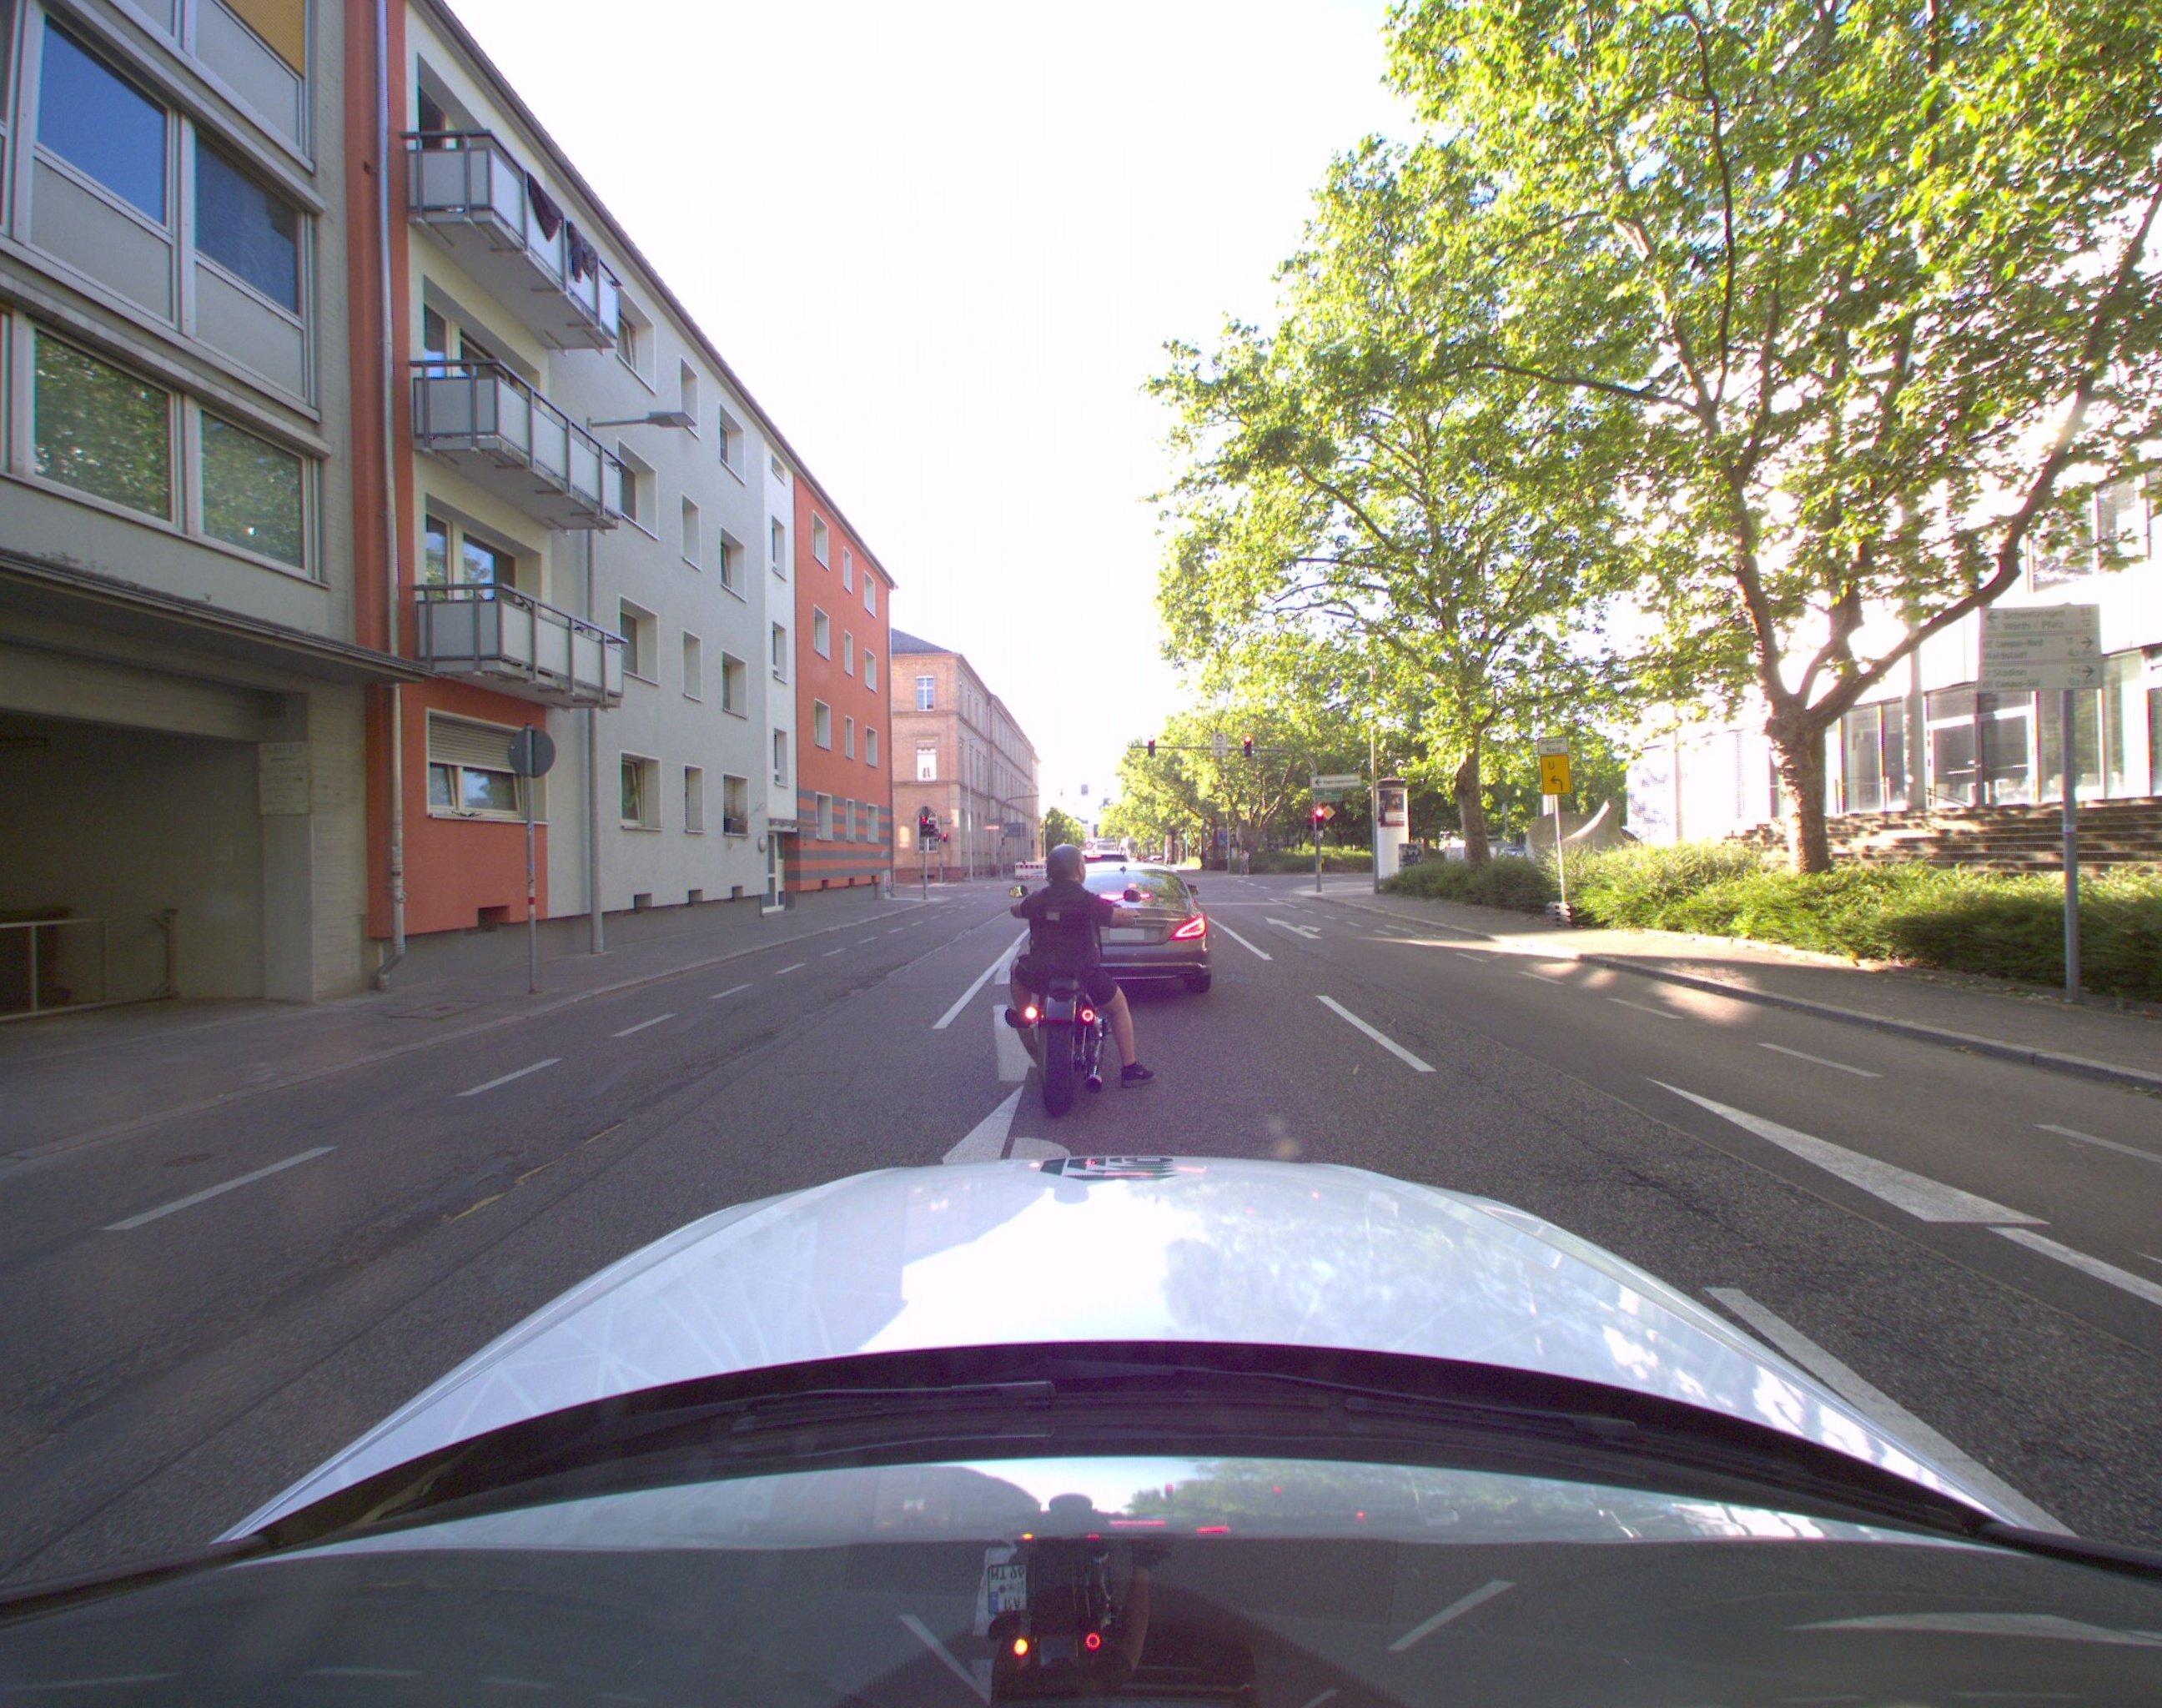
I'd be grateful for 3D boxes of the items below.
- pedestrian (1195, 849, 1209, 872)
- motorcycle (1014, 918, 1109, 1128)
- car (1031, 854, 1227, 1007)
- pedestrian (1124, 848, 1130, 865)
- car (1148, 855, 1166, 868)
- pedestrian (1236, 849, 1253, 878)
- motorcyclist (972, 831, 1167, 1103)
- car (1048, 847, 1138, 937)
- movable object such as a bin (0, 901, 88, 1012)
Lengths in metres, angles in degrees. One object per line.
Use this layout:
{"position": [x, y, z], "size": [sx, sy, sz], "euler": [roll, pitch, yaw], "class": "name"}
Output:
{"position": [10.511, 0.567, 70.803], "size": [0.753, 1.910, 0.918], "euler": [0, -1, -26], "class": "pedestrian"}
{"position": [-0.074, 1.006, 5.464], "size": [0.511, 1.002, 2.014], "euler": [0, -1, 2], "class": "motorcycle"}
{"position": [0.519, 0.741, 9.739], "size": [1.875, 1.449, 3.821], "euler": [0, 0, 2], "class": "car"}
{"position": [5.728, 0.274, 100.897], "size": [0.761, 2.051, 0.712], "euler": [0, -1, 1], "class": "pedestrian"}
{"position": [8.614, 0.875, 92.712], "size": [1.769, 1.428, 3.804], "euler": [-1, 0, 2], "class": "car"}
{"position": [10.735, 0.622, 53.438], "size": [0.996, 1.826, 1.078], "euler": [0, -1, 8], "class": "pedestrian"}
{"position": [-0.047, 0.674, 5.466], "size": [1.145, 1.598, 1.288], "euler": [0, -1, 1], "class": "motorcyclist"}
{"position": [0.278, 0.694, 16.868], "size": [1.615, 1.594, 4.002], "euler": [-1, 0, 2], "class": "car"}
{"position": [-11.255, 1.067, 8.643], "size": [0.626, 1.100, 0.659], "euler": [0, -1, 4], "class": "movable object such as a bin"}
